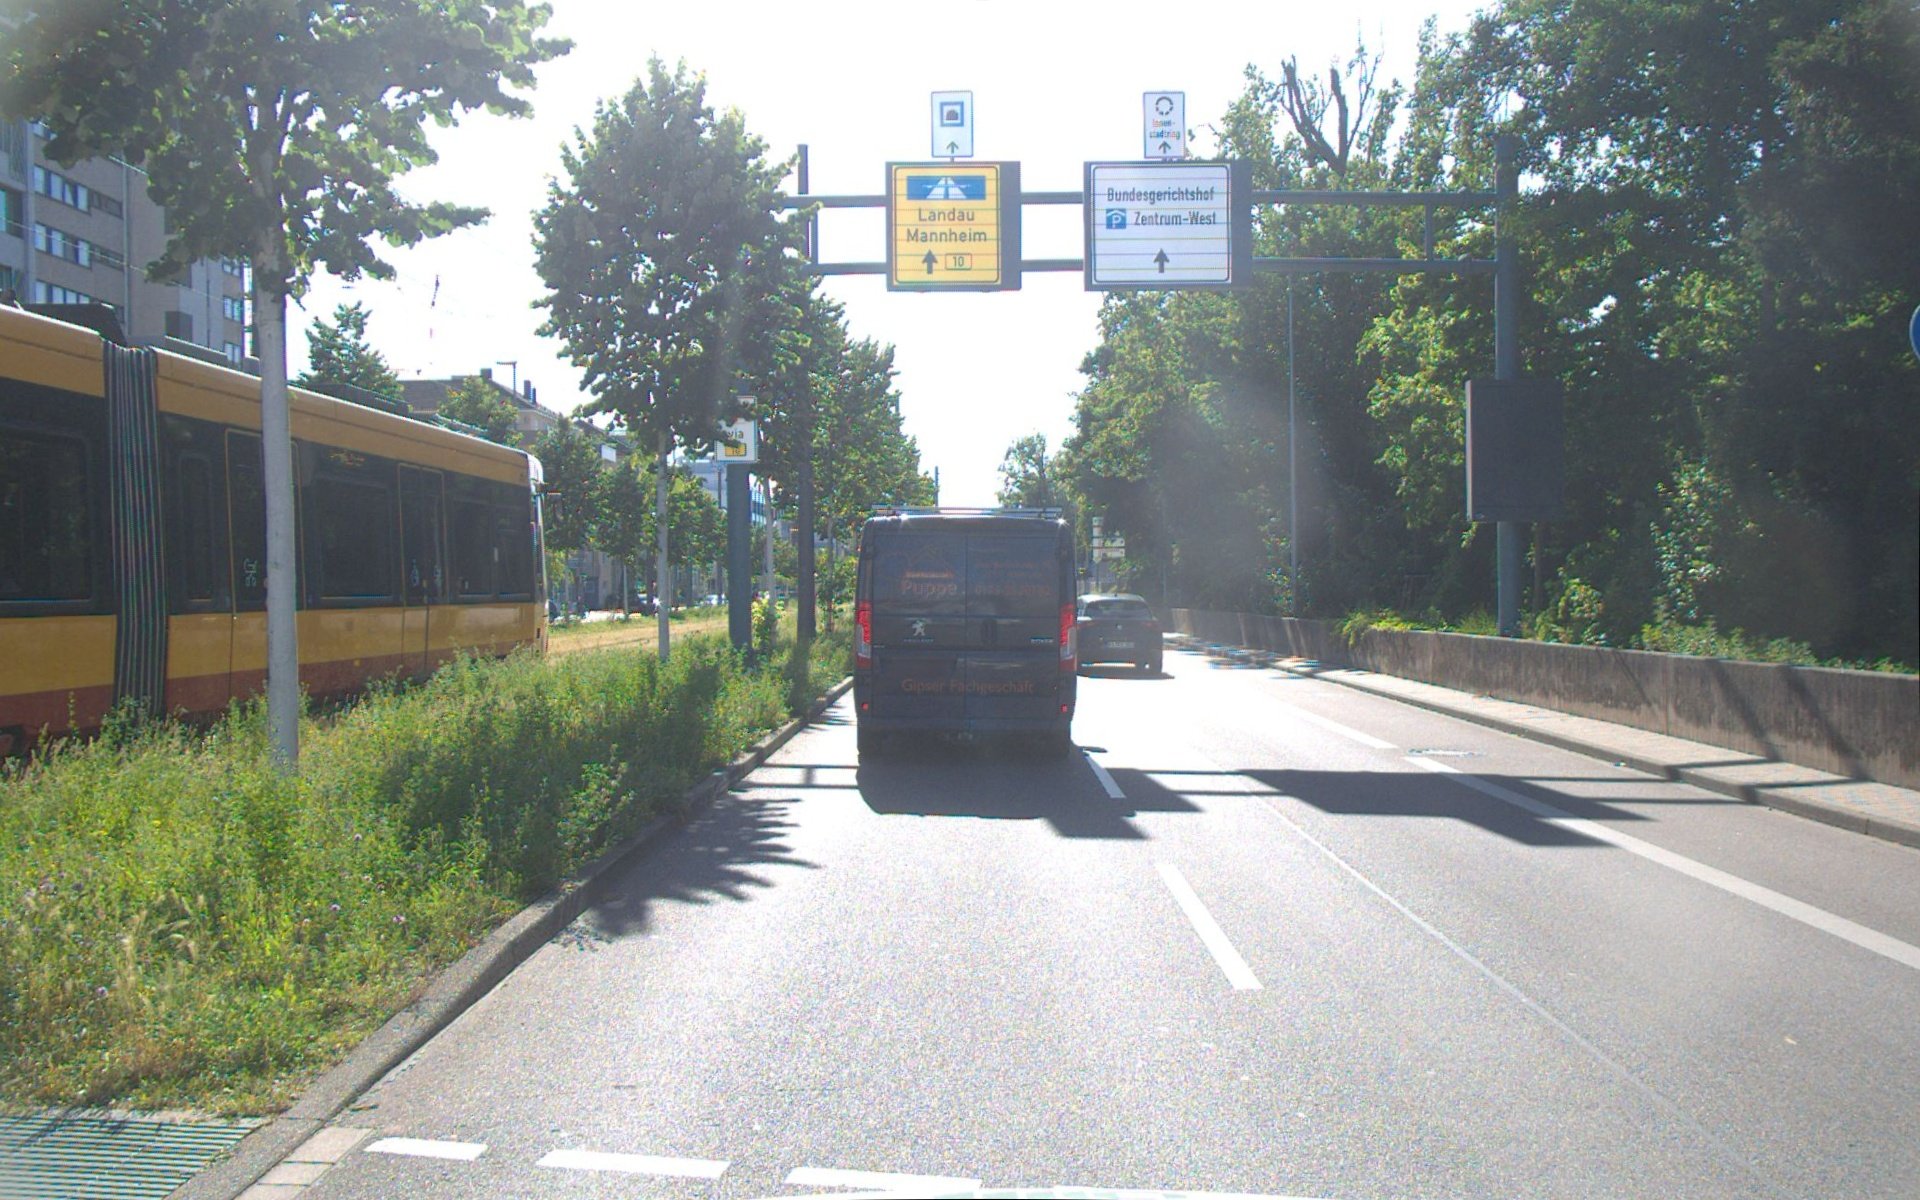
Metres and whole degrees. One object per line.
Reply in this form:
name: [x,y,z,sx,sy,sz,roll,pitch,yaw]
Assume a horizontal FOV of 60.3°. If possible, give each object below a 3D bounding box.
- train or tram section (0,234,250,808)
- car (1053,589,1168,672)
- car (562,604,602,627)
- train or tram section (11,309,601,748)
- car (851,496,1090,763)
train or tram section: [-7.324,-0.520,8.515,1.952,3.733,11.320,0,0,3]
car: [2.812,0.550,31.679,1.727,1.488,3.998,0,0,-2]
car: [-27.687,1.122,121.211,1.952,1.579,4.000,0,0,1]
train or tram section: [-6.852,-0.609,19.954,1.952,3.733,11.687,0,0,3]
car: [0.082,0.258,16.261,2.039,2.288,3.999,0,0,0]
